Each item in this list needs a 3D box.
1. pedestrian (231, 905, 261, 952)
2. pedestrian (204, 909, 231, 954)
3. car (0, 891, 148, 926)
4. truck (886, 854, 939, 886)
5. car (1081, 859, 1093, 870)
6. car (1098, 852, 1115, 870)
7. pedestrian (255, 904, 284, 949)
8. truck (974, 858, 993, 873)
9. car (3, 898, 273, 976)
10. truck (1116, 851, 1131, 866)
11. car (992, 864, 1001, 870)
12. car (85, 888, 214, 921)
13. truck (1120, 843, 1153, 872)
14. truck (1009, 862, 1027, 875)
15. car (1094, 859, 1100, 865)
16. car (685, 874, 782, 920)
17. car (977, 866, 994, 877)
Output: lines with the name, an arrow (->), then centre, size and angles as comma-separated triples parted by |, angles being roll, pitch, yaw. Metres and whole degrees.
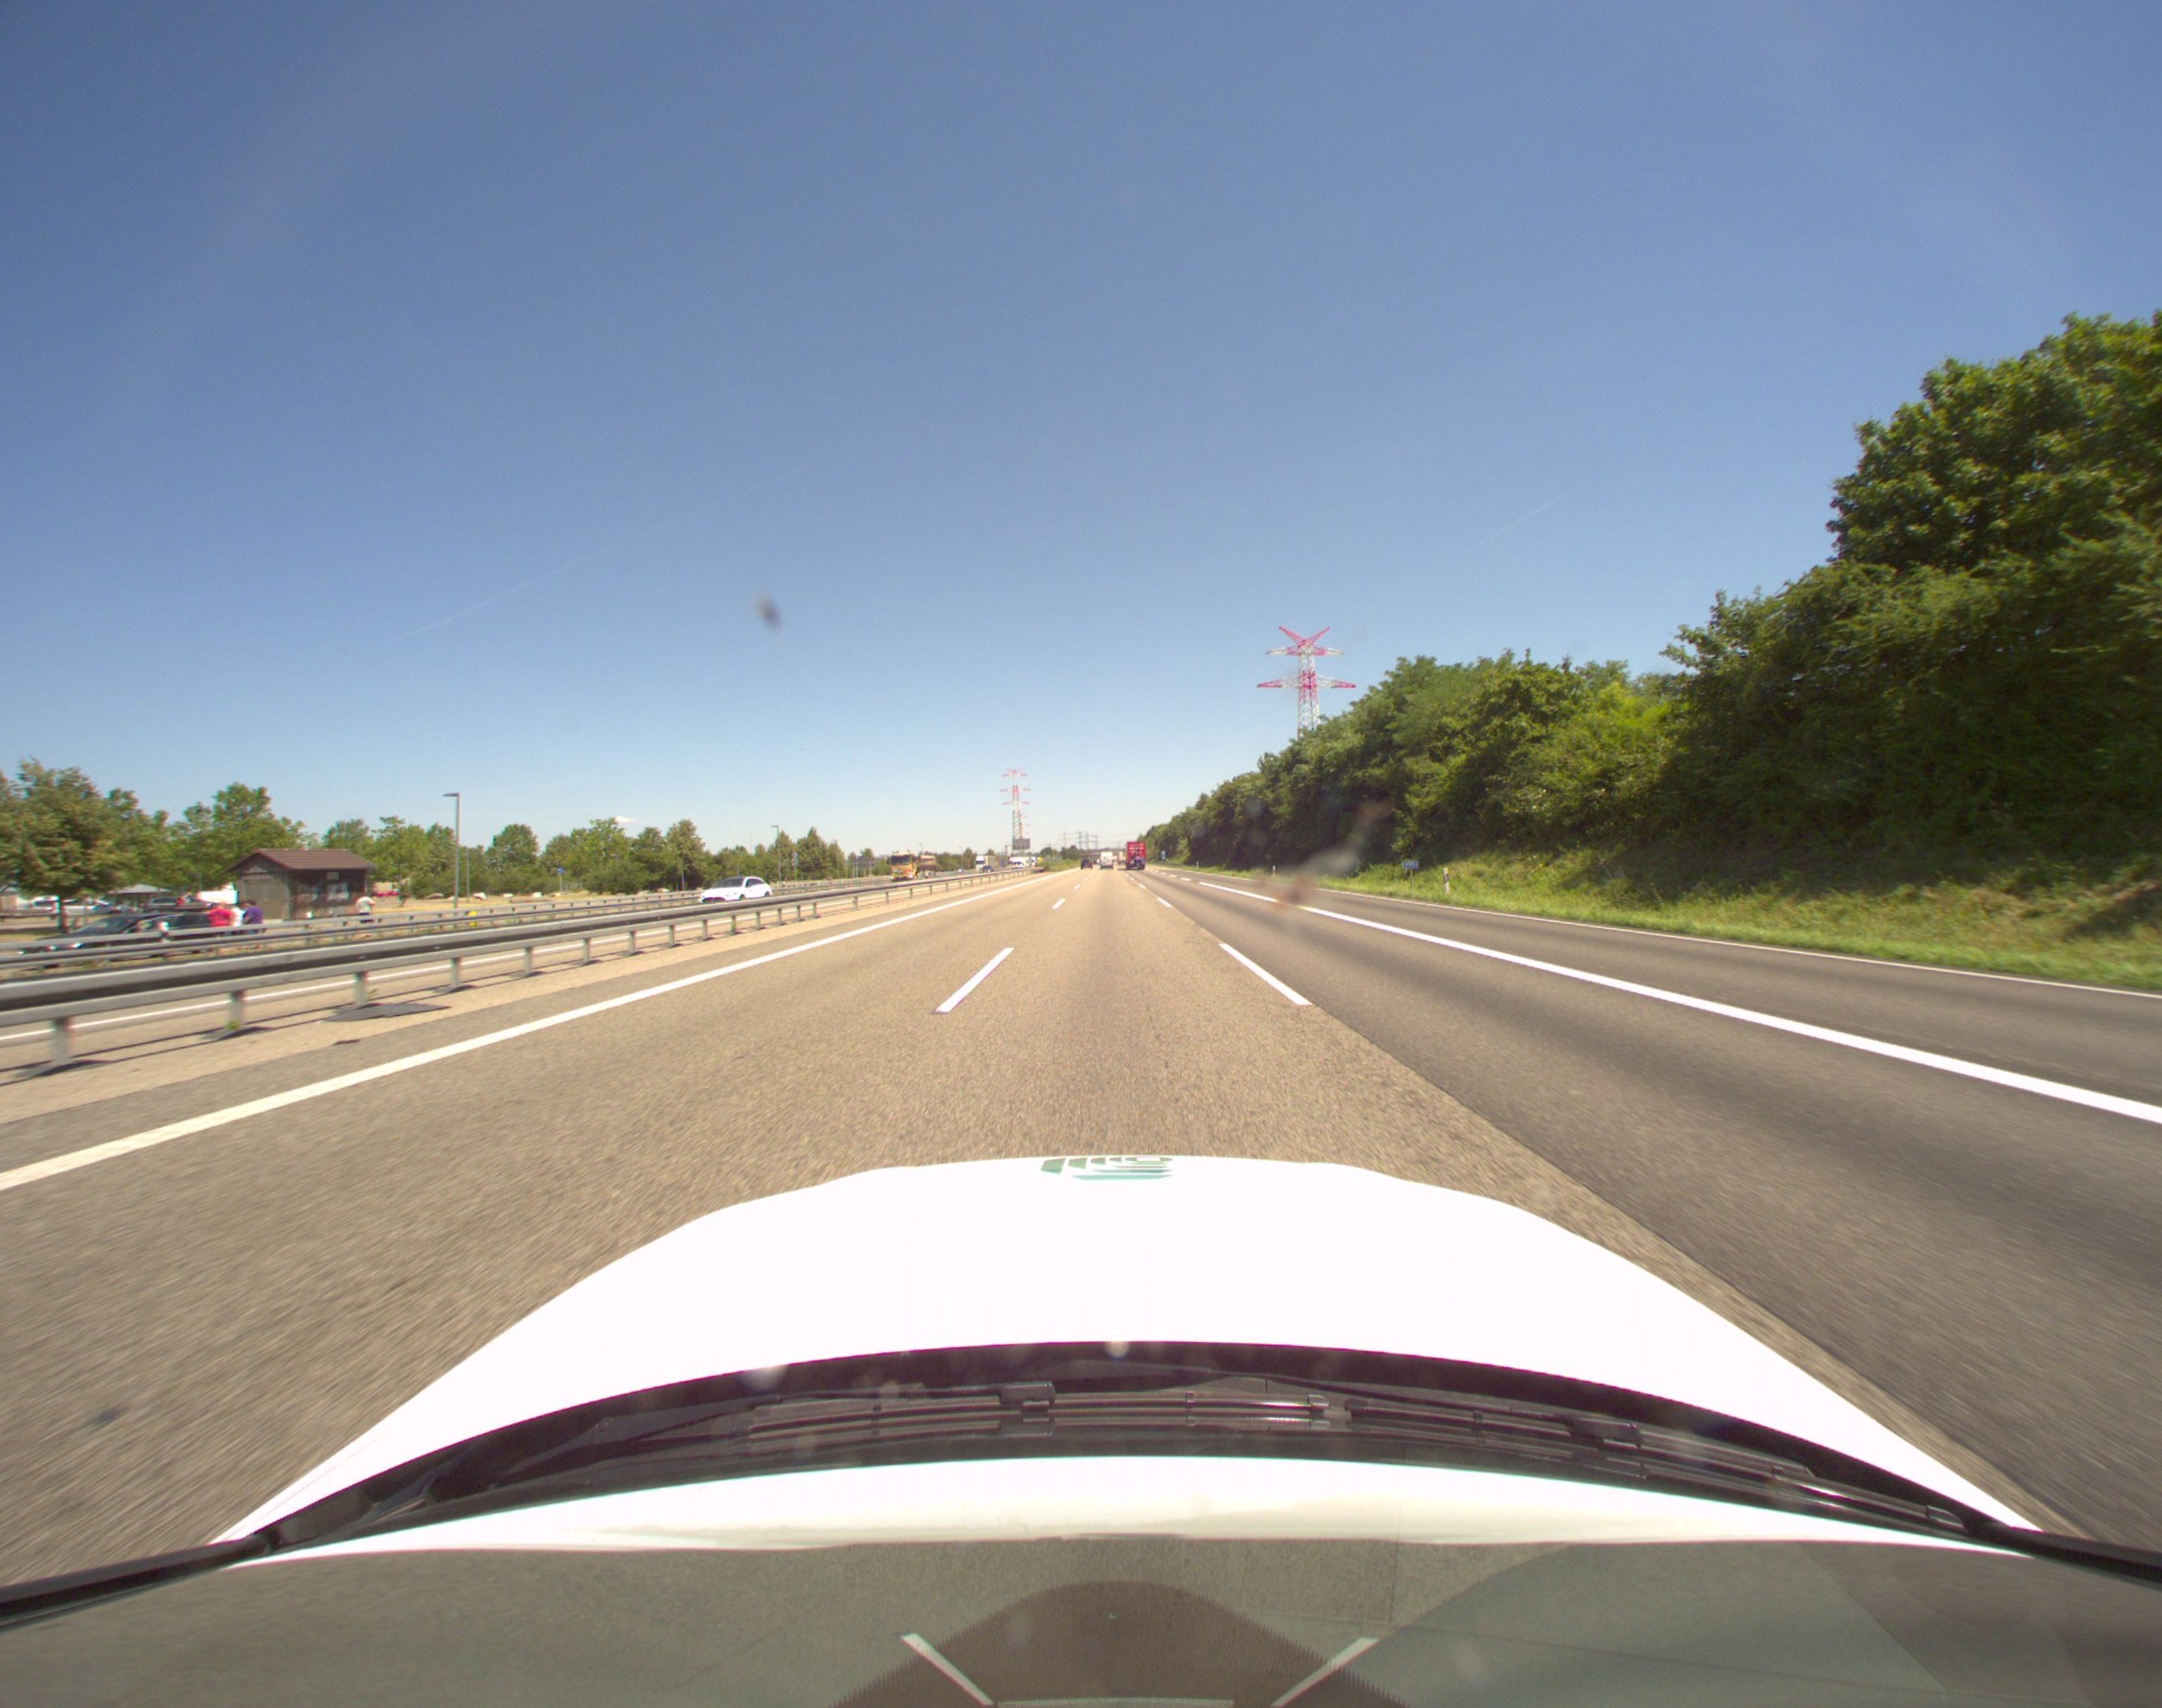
pedestrian -> -27.914, 2.482, 27.228 | 0.495, 1.503, 0.501 | -1, 0, 10
pedestrian -> -28.199, 2.525, 26.597 | 0.502, 1.422, 0.495 | -1, -1, -32
car -> -72.363, 3.878, 58.708 | 6.232, 2.124, 2.451 | -1, 0, -36
truck -> -18.382, 1.708, 89.874 | 2.707, 3.259, 12.393 | -2, -1, 2
car -> 1.083, 1.810, 137.597 | 1.986, 1.750, 4.001 | -1, 0, 1
car -> 4.078, 1.165, 130.200 | 2.611, 2.759, 6.098 | -1, 0, 1
pedestrian -> -27.802, 2.482, 27.897 | 0.495, 1.503, 0.501 | -1, 0, 10
truck -> -24.771, 2.844, 207.298 | 2.707, 3.717, 12.393 | -2, -1, 2
car -> -29.460, 2.503, 25.827 | 2.045, 1.842, 5.473 | -3, 0, 1
truck -> 12.754, 1.324, 246.287 | 4.315, 4.524, 16.083 | -1, 0, 2
car -> -21.174, 3.206, 203.833 | 1.809, 1.390, 3.904 | -3, 0, 1
car -> -72.856, 3.900, 63.865 | 6.232, 2.124, 2.451 | -1, 0, -36
truck -> 8.160, 0.477, 121.644 | 4.315, 3.941, 16.083 | -1, 0, 2
truck -> -12.505, 2.946, 162.105 | 2.707, 2.421, 8.110 | -2, -1, 2
car -> 4.797, 2.318, 244.213 | 1.741, 1.634, 4.004 | -1, 0, 1
car -> -16.238, 1.959, 38.429 | 2.045, 1.842, 5.473 | -3, 0, 1
car -> -13.237, 2.377, 113.164 | 1.809, 1.390, 3.904 | -3, 0, 1
